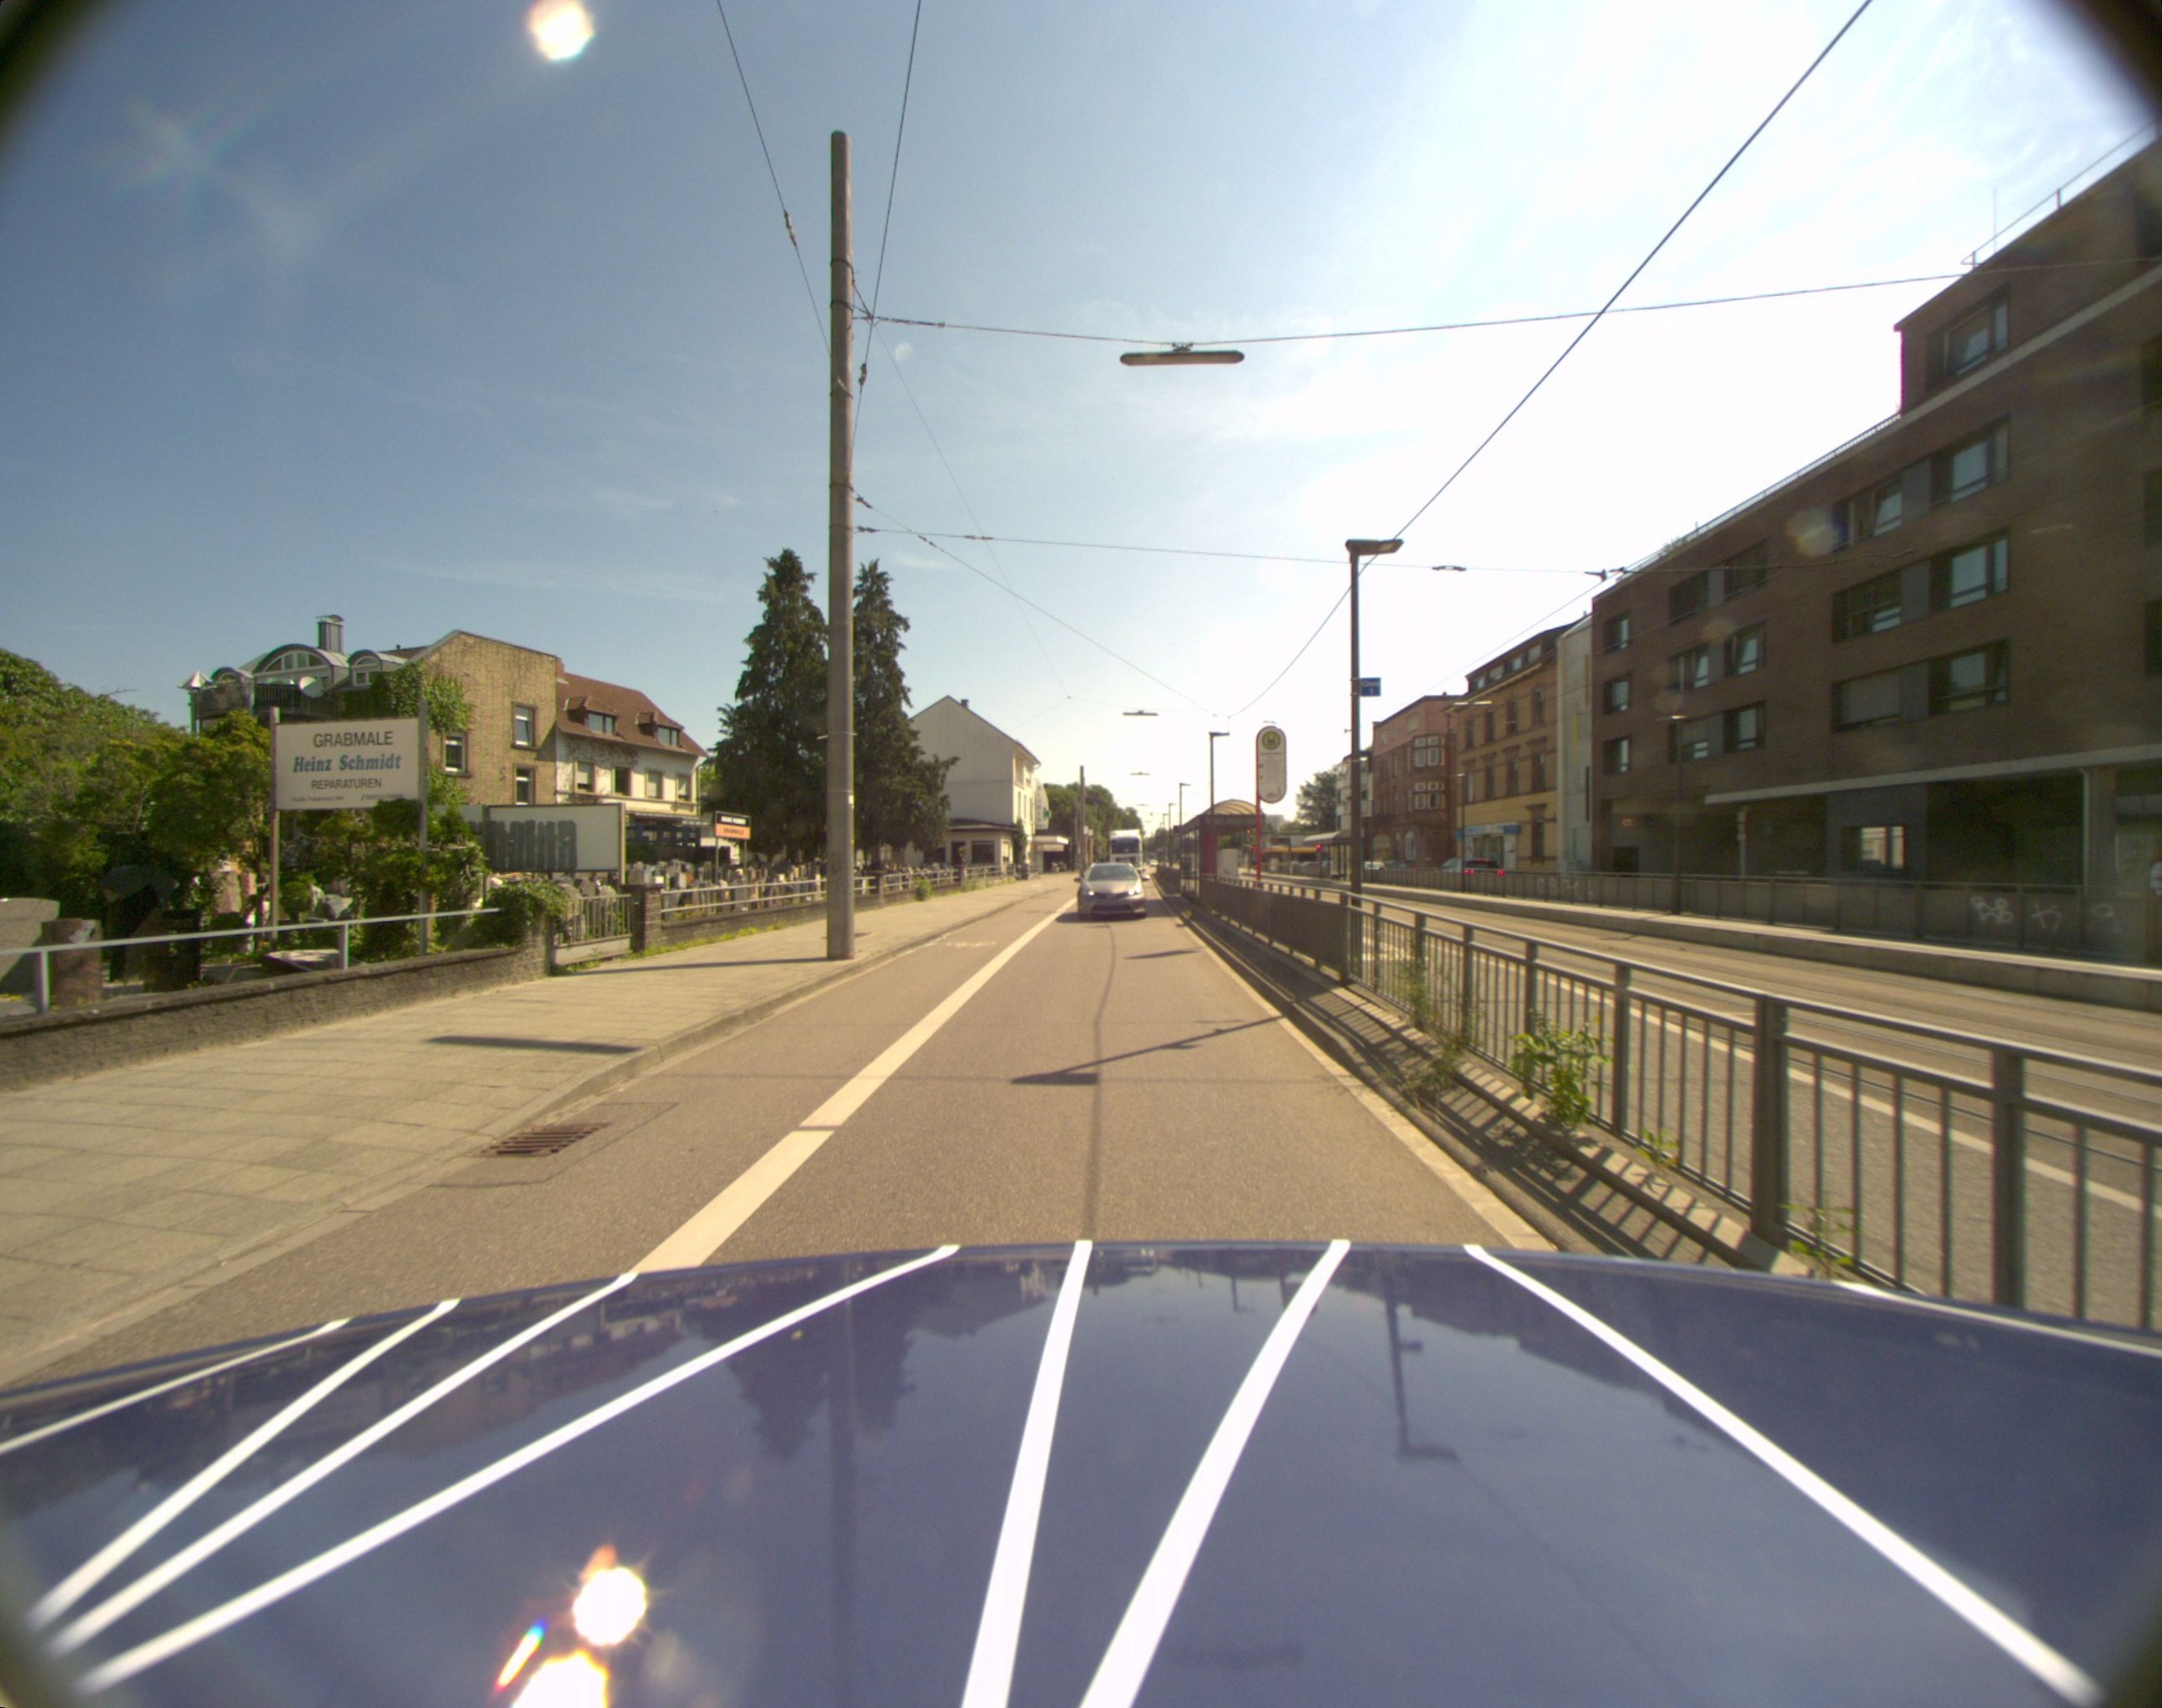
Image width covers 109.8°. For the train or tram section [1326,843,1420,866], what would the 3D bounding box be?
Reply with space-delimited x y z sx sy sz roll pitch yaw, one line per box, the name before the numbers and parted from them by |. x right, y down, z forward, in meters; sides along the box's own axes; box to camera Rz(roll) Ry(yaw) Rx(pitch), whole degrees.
train or tram section | 44.156 0.052 115.222 13.330 3.460 2.688 0 0 -1

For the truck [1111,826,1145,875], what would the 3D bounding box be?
truck | 3.941 -0.227 62.380 2.656 3.772 7.866 0 0 5

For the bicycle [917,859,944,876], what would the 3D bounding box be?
bicycle | -10.248 0.917 51.665 1.688 1.104 0.512 1 0 6

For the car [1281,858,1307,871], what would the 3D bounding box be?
car | 21.314 1.055 76.056 1.716 1.236 4.080 -2 0 4

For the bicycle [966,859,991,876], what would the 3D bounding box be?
bicycle | -6.856 0.898 50.915 1.686 1.104 0.515 1 0 29

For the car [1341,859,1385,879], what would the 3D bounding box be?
car | 19.698 1.014 53.224 1.635 1.355 4.522 0 0 4

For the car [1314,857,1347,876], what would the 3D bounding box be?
car | 19.923 1.019 60.837 1.629 1.460 3.867 -1 -1 5

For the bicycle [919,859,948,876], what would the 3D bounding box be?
bicycle | -9.838 0.917 50.574 1.795 1.104 0.512 1 0 8

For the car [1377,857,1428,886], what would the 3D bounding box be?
car | 18.832 0.993 44.696 1.715 1.613 3.580 -1 0 5

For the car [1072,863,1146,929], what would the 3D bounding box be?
car | 0.828 0.996 19.681 1.695 1.440 4.483 -1 0 5

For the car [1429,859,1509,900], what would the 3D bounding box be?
car | 17.753 1.111 34.994 1.805 1.718 4.190 -2 0 5

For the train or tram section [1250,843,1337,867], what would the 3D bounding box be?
train or tram section | 31.643 0.133 113.015 13.349 3.460 2.684 0 0 -18

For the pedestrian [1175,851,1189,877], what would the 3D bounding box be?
pedestrian | 7.361 0.732 55.586 0.983 1.847 1.238 0 0 5

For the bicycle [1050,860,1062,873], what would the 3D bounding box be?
bicycle | -2.240 1.109 68.662 0.511 1.127 1.693 0 0 22

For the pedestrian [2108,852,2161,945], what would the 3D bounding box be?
pedestrian | 21.508 0.859 15.172 0.846 1.808 0.839 0 0 5

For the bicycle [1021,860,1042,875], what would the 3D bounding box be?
bicycle | -3.755 1.038 57.538 1.530 1.051 0.398 3 1 6
